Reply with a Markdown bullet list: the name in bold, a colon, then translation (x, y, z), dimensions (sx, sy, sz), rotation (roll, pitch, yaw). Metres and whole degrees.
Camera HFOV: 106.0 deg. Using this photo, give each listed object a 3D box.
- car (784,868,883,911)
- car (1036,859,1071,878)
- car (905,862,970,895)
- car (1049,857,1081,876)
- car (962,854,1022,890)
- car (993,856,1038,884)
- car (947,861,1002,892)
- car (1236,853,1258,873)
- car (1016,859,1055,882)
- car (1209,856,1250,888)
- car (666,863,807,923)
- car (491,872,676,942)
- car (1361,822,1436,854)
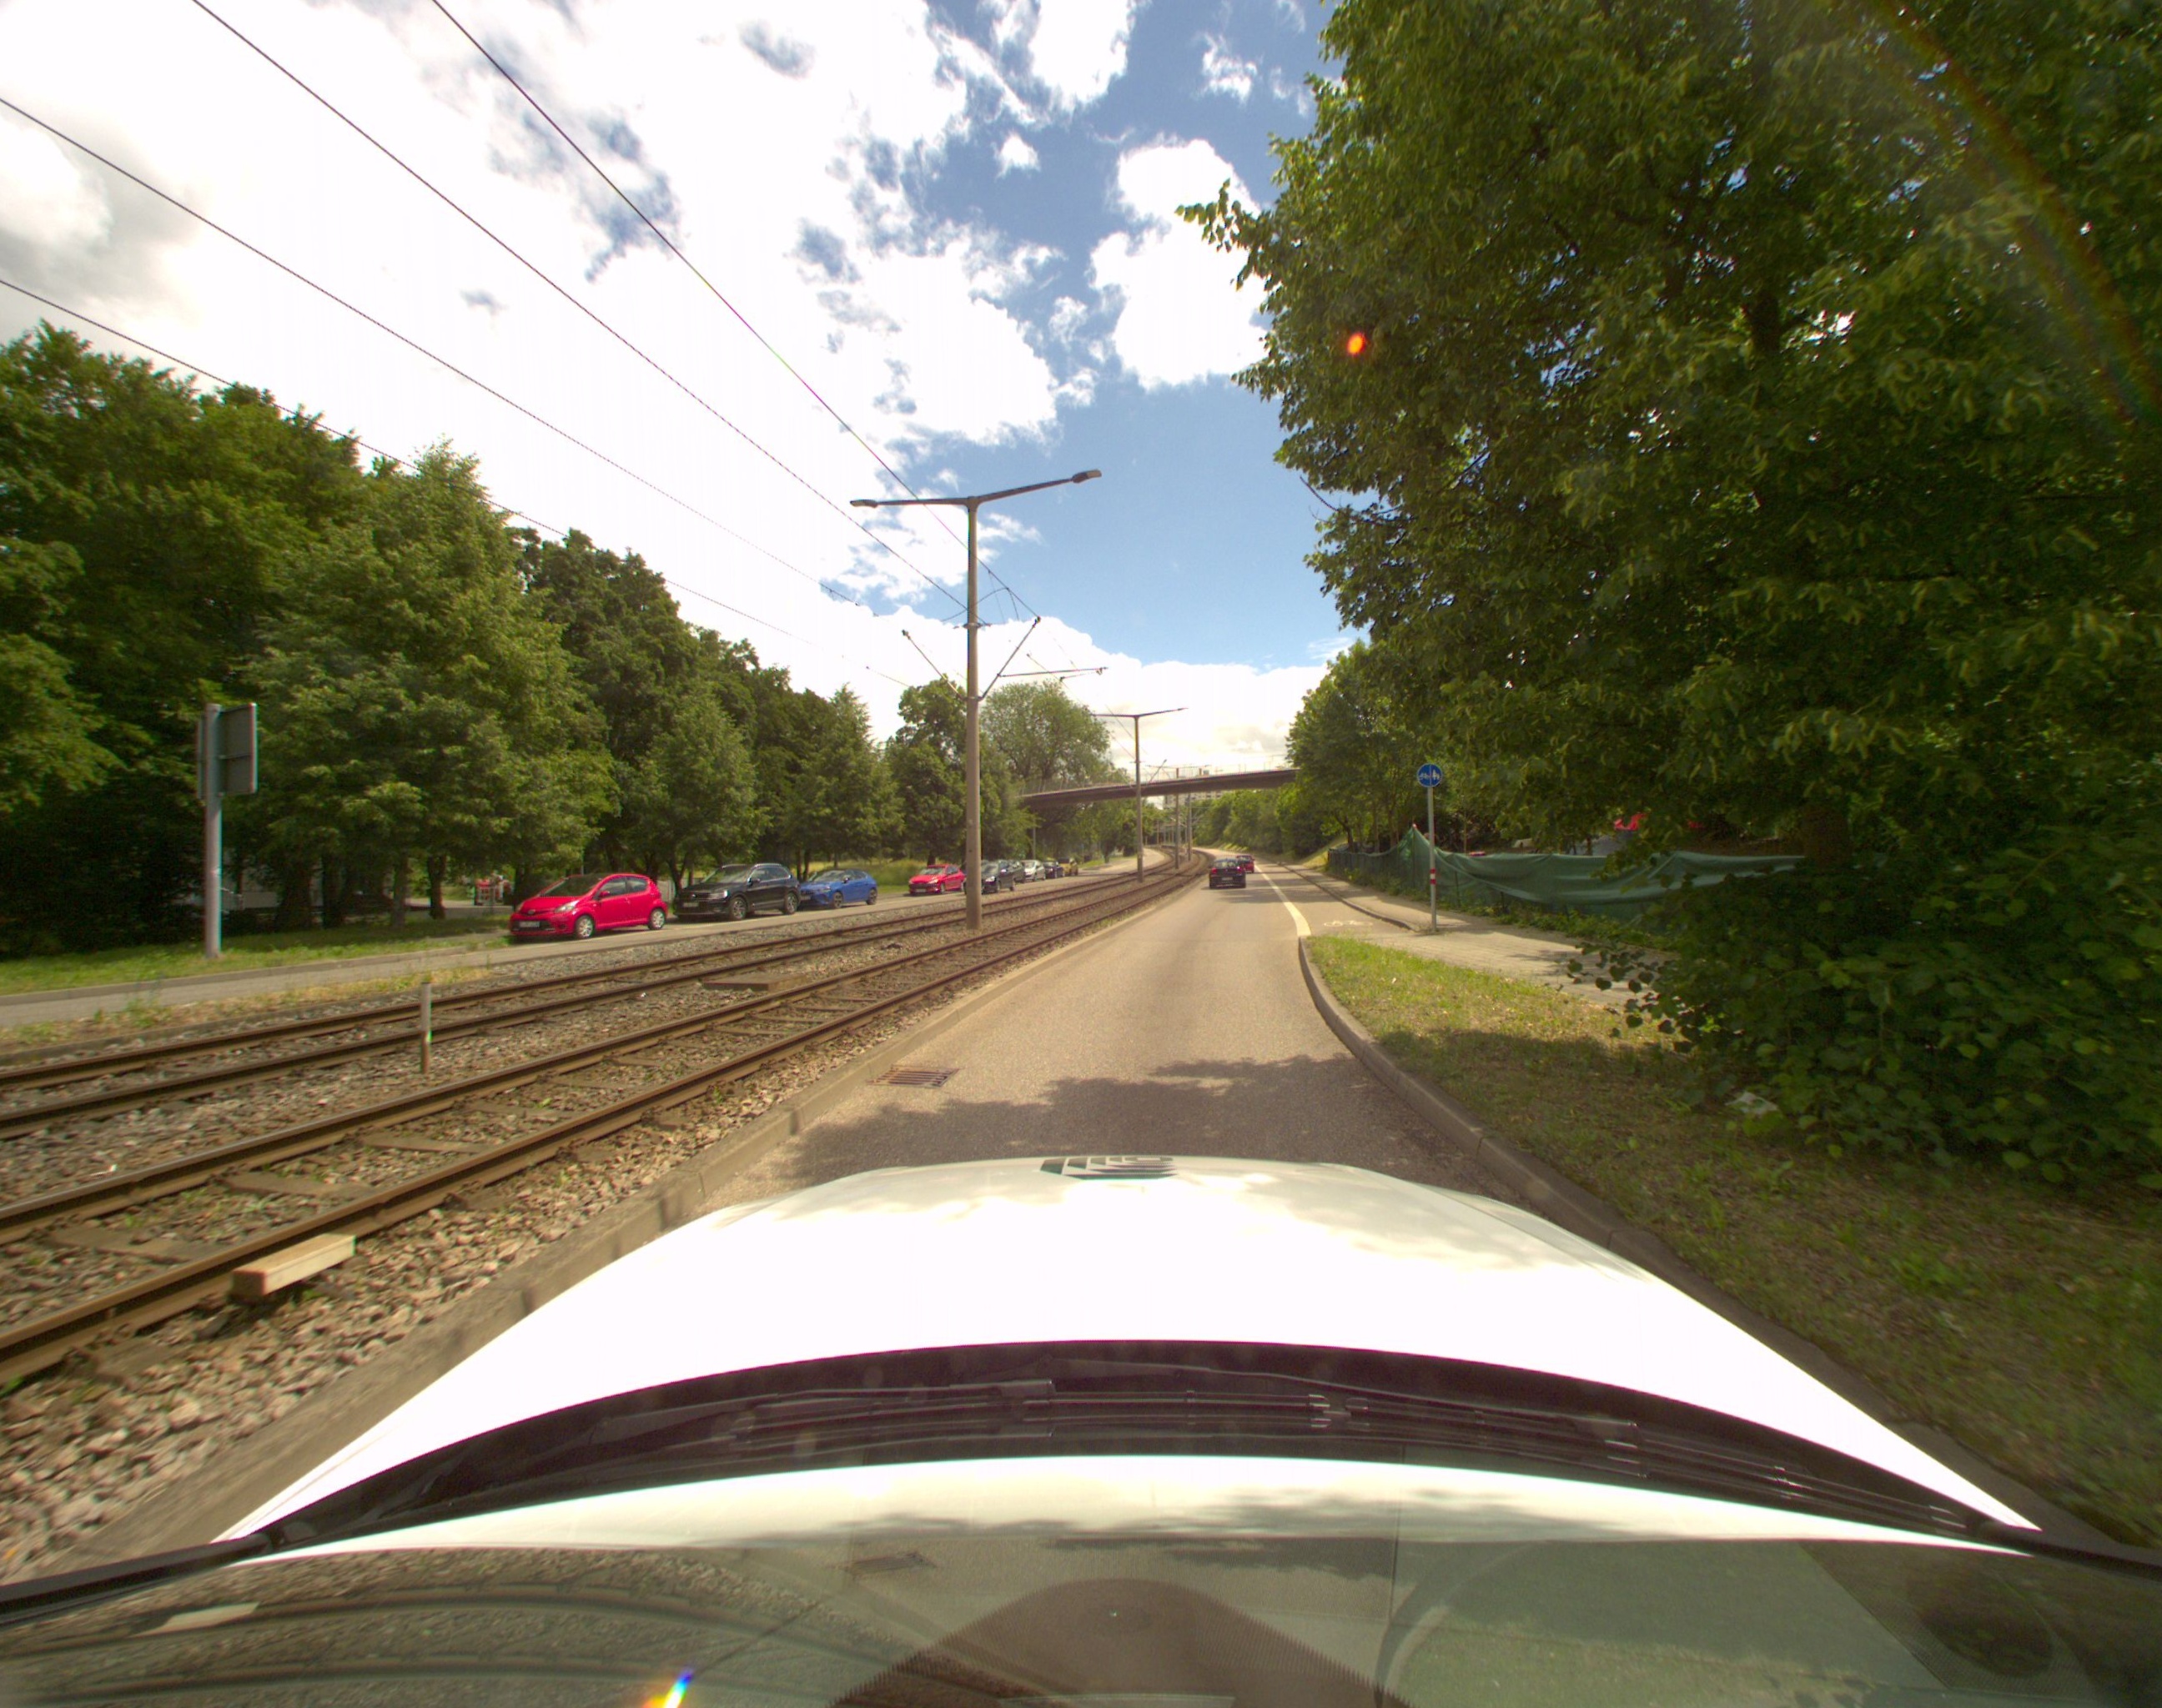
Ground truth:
- **car**: translation (-8.945, 1.257, 29.789), dimensions (1.602, 1.461, 4.021), rotation (0, -2, 13)
- **car**: translation (-2.021, 1.063, 60.676), dimensions (1.501, 1.360, 4.143), rotation (-2, -1, 13)
- **car**: translation (-6.904, 1.184, 39.583), dimensions (1.602, 1.494, 4.061), rotation (0, -2, 13)
- **car**: translation (-1.263, 1.035, 65.818), dimensions (1.677, 1.450, 3.912), rotation (0, -2, 13)
- **car**: translation (-4.142, 0.854, 38.410), dimensions (1.602, 1.574, 4.013), rotation (0, -1, 12)
- **car**: translation (-4.064, 0.988, 51.146), dimensions (1.631, 1.622, 4.140), rotation (-2, -1, 13)
- **car**: translation (-5.762, 1.235, 44.426), dimensions (1.546, 1.596, 4.174), rotation (0, -2, 13)
- **car**: translation (13.092, 0.724, 64.035), dimensions (1.613, 1.443, 3.433), rotation (0, -1, 13)
- **car**: translation (-3.036, 1.154, 55.344), dimensions (1.583, 1.494, 4.204), rotation (0, -2, 11)
- **car**: translation (7.231, 0.818, 39.444), dimensions (1.696, 1.460, 3.974), rotation (1, 0, 13)
- **car**: translation (-10.181, 1.117, 24.469), dimensions (1.569, 1.605, 4.389), rotation (0, -2, 13)
- **car**: translation (-11.530, 1.177, 19.178), dimensions (1.603, 1.452, 3.672), rotation (0, -2, 11)
- **car**: translation (21.624, -1.084, 55.626), dimensions (4.491, 1.671, 2.008), rotation (-6, -3, 14)
